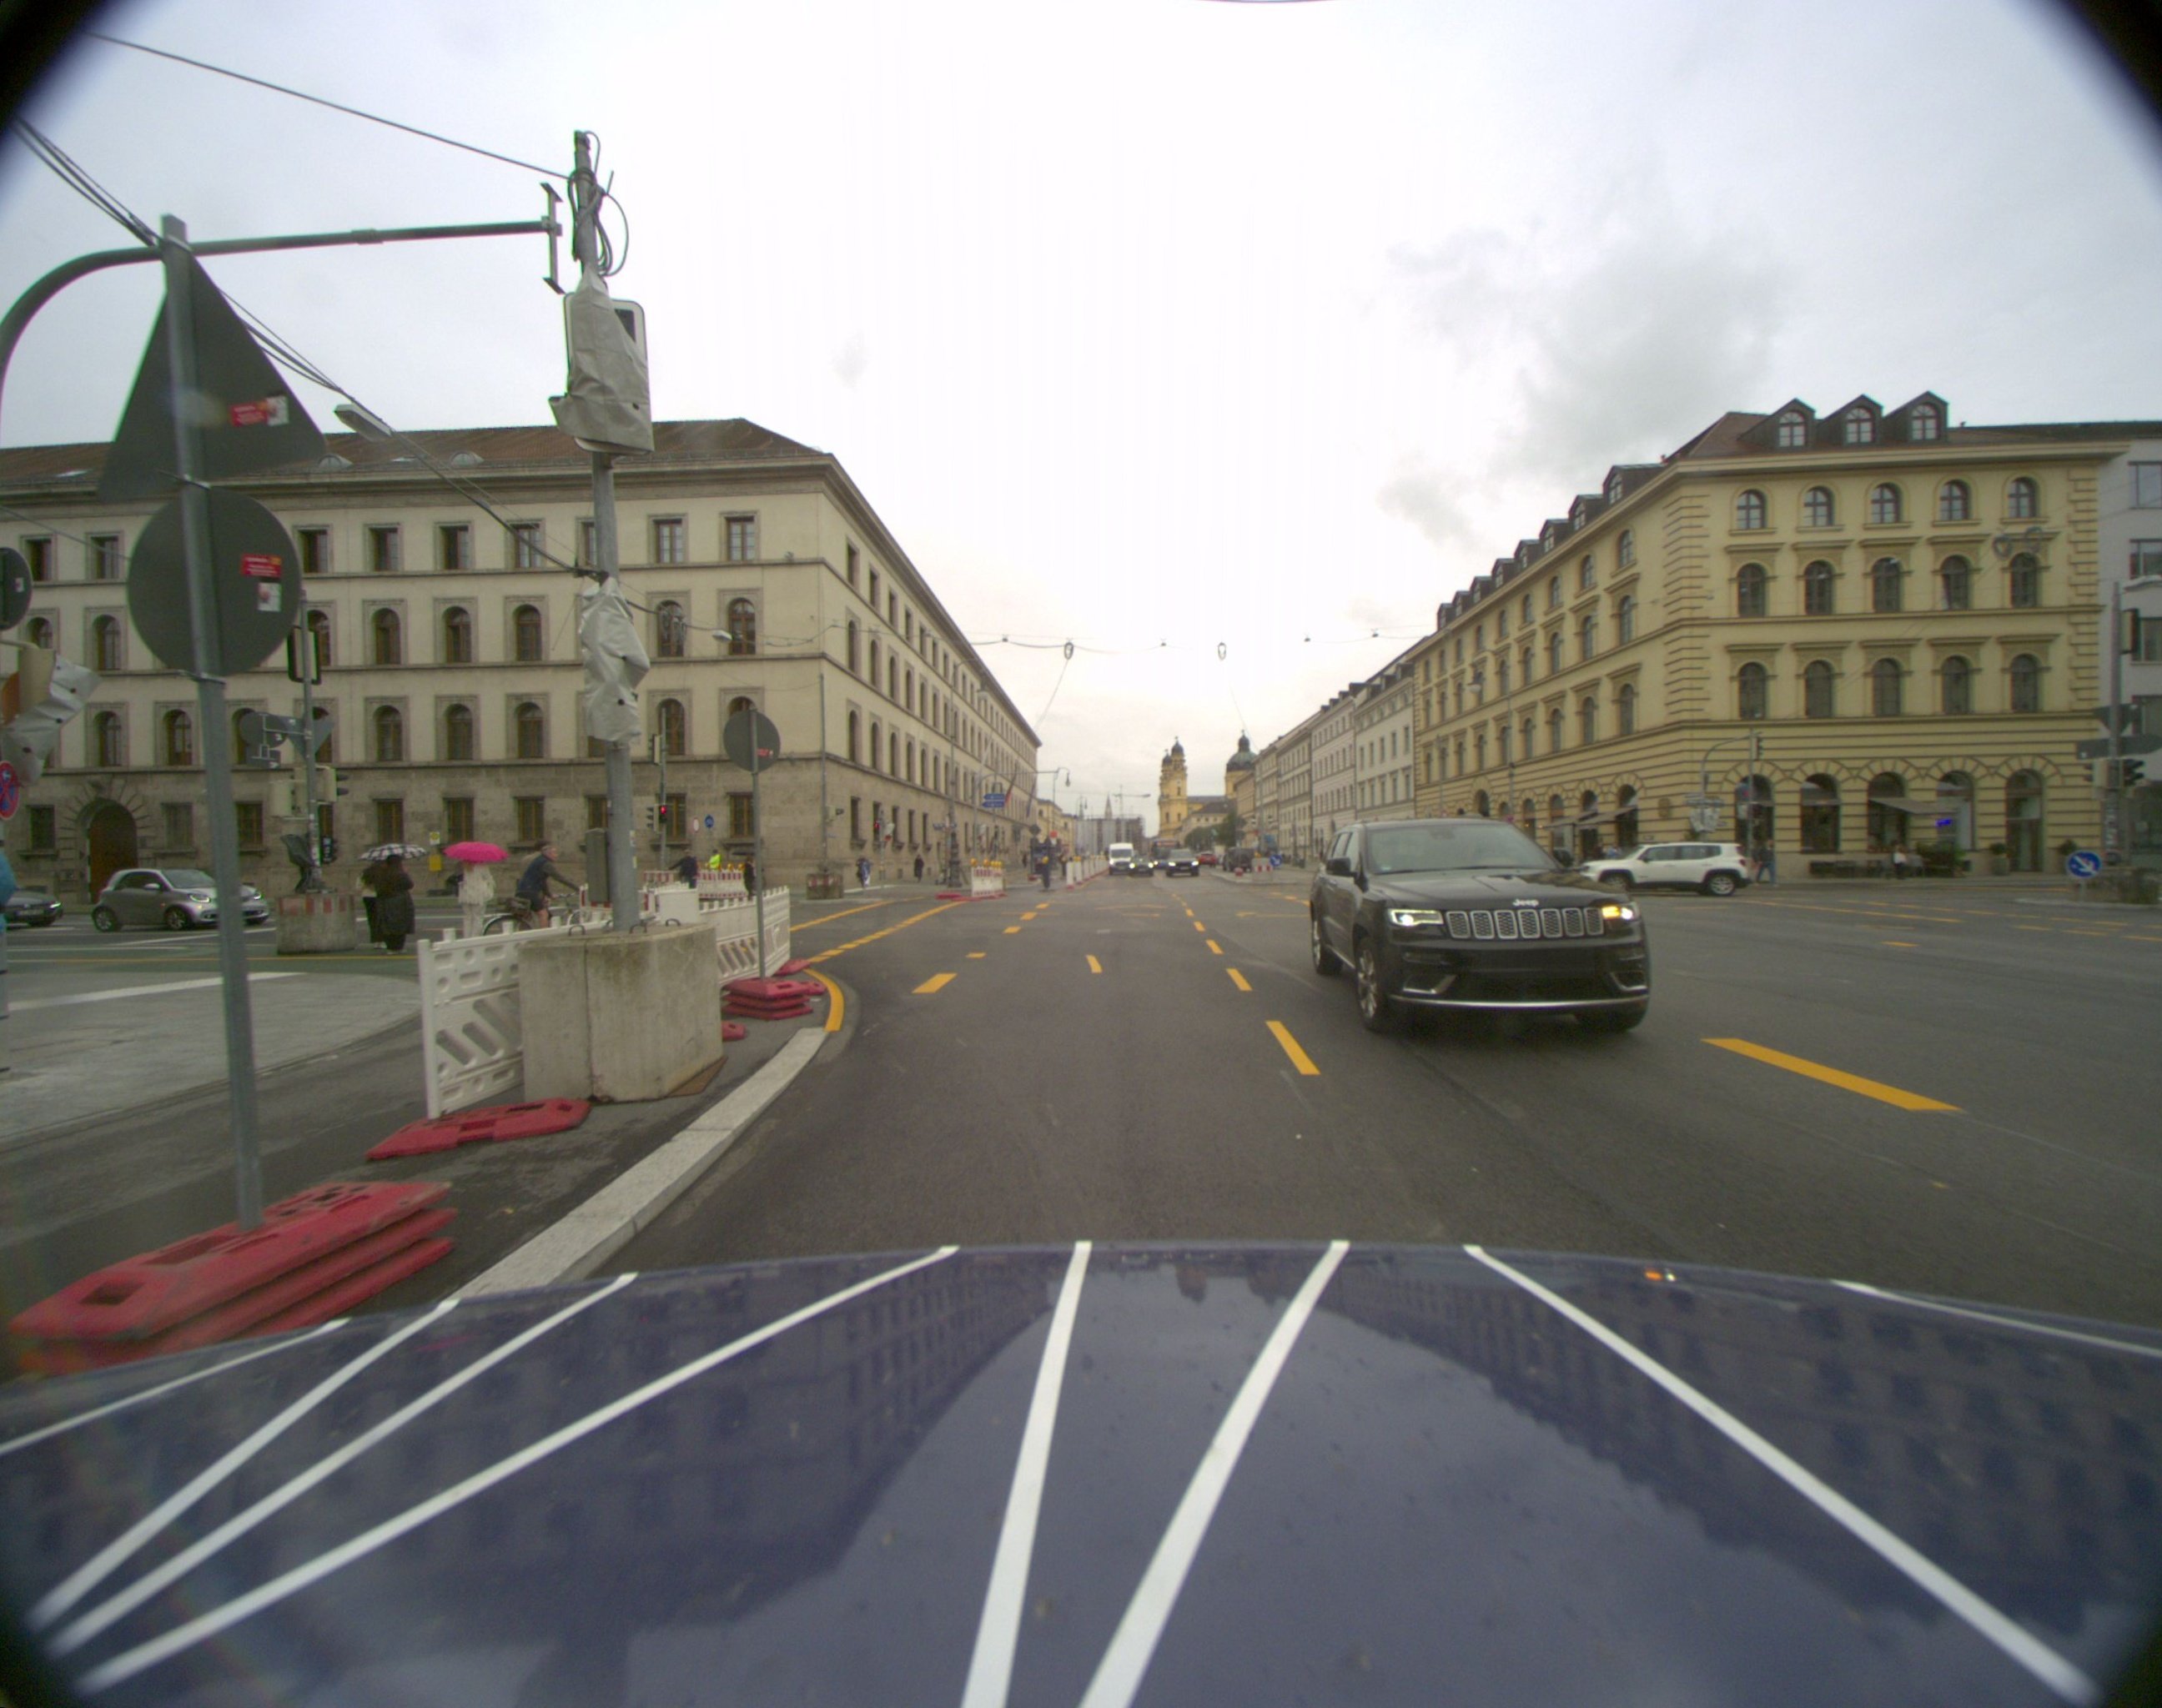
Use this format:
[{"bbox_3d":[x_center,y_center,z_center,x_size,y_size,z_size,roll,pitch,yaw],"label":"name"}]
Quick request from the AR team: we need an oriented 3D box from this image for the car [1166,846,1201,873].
[{"bbox_3d":[6.718,0.321,50.108,1.998,1.674,4.001,-1,0,3],"label":"car"}]

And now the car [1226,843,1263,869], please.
[{"bbox_3d":[13.309,0.182,62.093,2.243,2.002,4.450,-1,0,2],"label":"car"}]

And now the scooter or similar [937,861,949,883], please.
[{"bbox_3d":[-7.690,0.997,42.443,0.381,1.138,1.988,-1,2,-2],"label":"scooter or similar"}]

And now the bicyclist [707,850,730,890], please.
[{"bbox_3d":[-16.287,0.711,34.159,0.689,1.739,0.800,-1,2,-8],"label":"bicyclist"}]

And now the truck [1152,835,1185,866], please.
[{"bbox_3d":[8.675,-0.415,76.140,2.988,2.996,7.144,-1,1,4],"label":"truck"}]

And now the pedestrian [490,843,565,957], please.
[{"bbox_3d":[-9.315,0.753,12.802,0.640,1.874,0.705,-1,2,8],"label":"pedestrian"}]

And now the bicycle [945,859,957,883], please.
[{"bbox_3d":[-7.287,0.931,42.653,0.381,1.235,1.988,-1,2,-2],"label":"bicycle"}]

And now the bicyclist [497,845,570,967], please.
[{"bbox_3d":[-8.661,0.791,12.030,0.801,1.843,0.566,-3,3,-45],"label":"bicyclist"}]

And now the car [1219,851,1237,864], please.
[{"bbox_3d":[19.338,0.419,99.817,1.821,1.710,4.001,-1,0,3],"label":"car"}]

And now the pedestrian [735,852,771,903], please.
[{"bbox_3d":[-11.451,0.809,26.544,0.738,1.762,0.847,-1,2,9],"label":"pedestrian"}]

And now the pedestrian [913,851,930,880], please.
[{"bbox_3d":[-9.269,0.671,44.094,0.738,1.645,0.727,2,1,5],"label":"pedestrian"}]

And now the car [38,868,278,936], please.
[{"bbox_3d":[-22.634,1.141,18.724,3.996,1.495,1.634,-1,1,3],"label":"car"}]

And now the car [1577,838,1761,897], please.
[{"bbox_3d":[17.967,0.410,23.492,4.222,1.668,1.802,-1,0,27],"label":"car"}]

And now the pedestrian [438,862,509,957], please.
[{"bbox_3d":[-10.367,0.926,12.985,0.540,1.558,0.705,-1,2,6],"label":"pedestrian"}]

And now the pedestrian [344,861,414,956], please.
[{"bbox_3d":[-12.340,0.946,13.365,0.673,1.611,0.533,-1,2,5],"label":"pedestrian"}]

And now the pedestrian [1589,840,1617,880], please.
[{"bbox_3d":[23.121,0.251,33.667,0.739,1.762,0.735,-1,2,-7],"label":"pedestrian"}]

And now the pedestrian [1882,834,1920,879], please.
[{"bbox_3d":[32.618,0.079,30.238,0.735,1.762,0.740,-1,2,15],"label":"pedestrian"}]

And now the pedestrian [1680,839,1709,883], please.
[{"bbox_3d":[24.728,0.267,30.639,0.737,1.762,0.737,0,2,24],"label":"pedestrian"}]

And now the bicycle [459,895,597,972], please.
[{"bbox_3d":[-8.699,1.214,12.001,1.660,1.006,0.585,-3,2,-45],"label":"bicycle"}]

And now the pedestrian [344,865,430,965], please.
[{"bbox_3d":[-11.334,0.974,12.434,0.681,1.558,0.705,-1,2,5],"label":"pedestrian"}]

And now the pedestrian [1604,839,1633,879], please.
[{"bbox_3d":[23.877,0.210,33.747,0.739,1.762,0.735,-1,2,-7],"label":"pedestrian"}]

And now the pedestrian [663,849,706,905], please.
[{"bbox_3d":[-12.572,0.711,24.104,1.043,1.733,0.514,-1,1,-7],"label":"pedestrian"}]

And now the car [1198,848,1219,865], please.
[{"bbox_3d":[13.902,0.257,82.937,1.821,1.710,4.001,-1,0,3],"label":"car"}]

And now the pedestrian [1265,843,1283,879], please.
[{"bbox_3d":[9.793,0.344,38.540,0.735,1.762,0.739,-1,2,5],"label":"pedestrian"}]

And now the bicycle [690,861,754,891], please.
[{"bbox_3d":[-16.128,0.991,34.190,2.448,1.236,0.789,-1,2,-8],"label":"bicycle"}]

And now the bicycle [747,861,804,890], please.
[{"bbox_3d":[-13.702,0.950,34.090,2.196,1.236,0.790,-1,2,7],"label":"bicycle"}]

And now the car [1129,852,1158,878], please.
[{"bbox_3d":[4.362,0.744,53.532,1.799,1.585,3.999,-1,1,2],"label":"car"}]

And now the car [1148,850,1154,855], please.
[{"bbox_3d":[24.257,-0.607,263.049,1.866,1.788,3.753,-1,1,4],"label":"car"}]

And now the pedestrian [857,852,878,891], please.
[{"bbox_3d":[-9.290,0.766,33.070,0.739,1.645,0.726,2,1,-9],"label":"pedestrian"}]

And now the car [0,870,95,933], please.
[{"bbox_3d":[-28.415,1.222,19.287,4.302,1.433,1.923,-1,2,3],"label":"car"}]

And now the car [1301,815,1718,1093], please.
[{"bbox_3d":[3.361,0.630,7.140,1.998,1.724,4.589,-1,0,10],"label":"car"}]

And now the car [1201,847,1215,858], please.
[{"bbox_3d":[20.428,-0.229,122.186,1.821,1.710,4.001,-1,0,3],"label":"car"}]

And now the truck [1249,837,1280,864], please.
[{"bbox_3d":[18.283,-0.329,75.957,2.220,2.647,4.784,-1,0,4],"label":"truck"}]

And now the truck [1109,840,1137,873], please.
[{"bbox_3d":[3.317,0.177,60.590,2.115,2.466,5.860,-1,0,2],"label":"truck"}]

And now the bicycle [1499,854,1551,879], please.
[{"bbox_3d":[20.631,0.573,35.365,0.600,1.093,2.195,-1,0,-21],"label":"bicycle"}]

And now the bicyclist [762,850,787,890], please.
[{"bbox_3d":[-13.741,0.709,34.087,0.688,1.766,0.801,-1,2,7],"label":"bicyclist"}]
